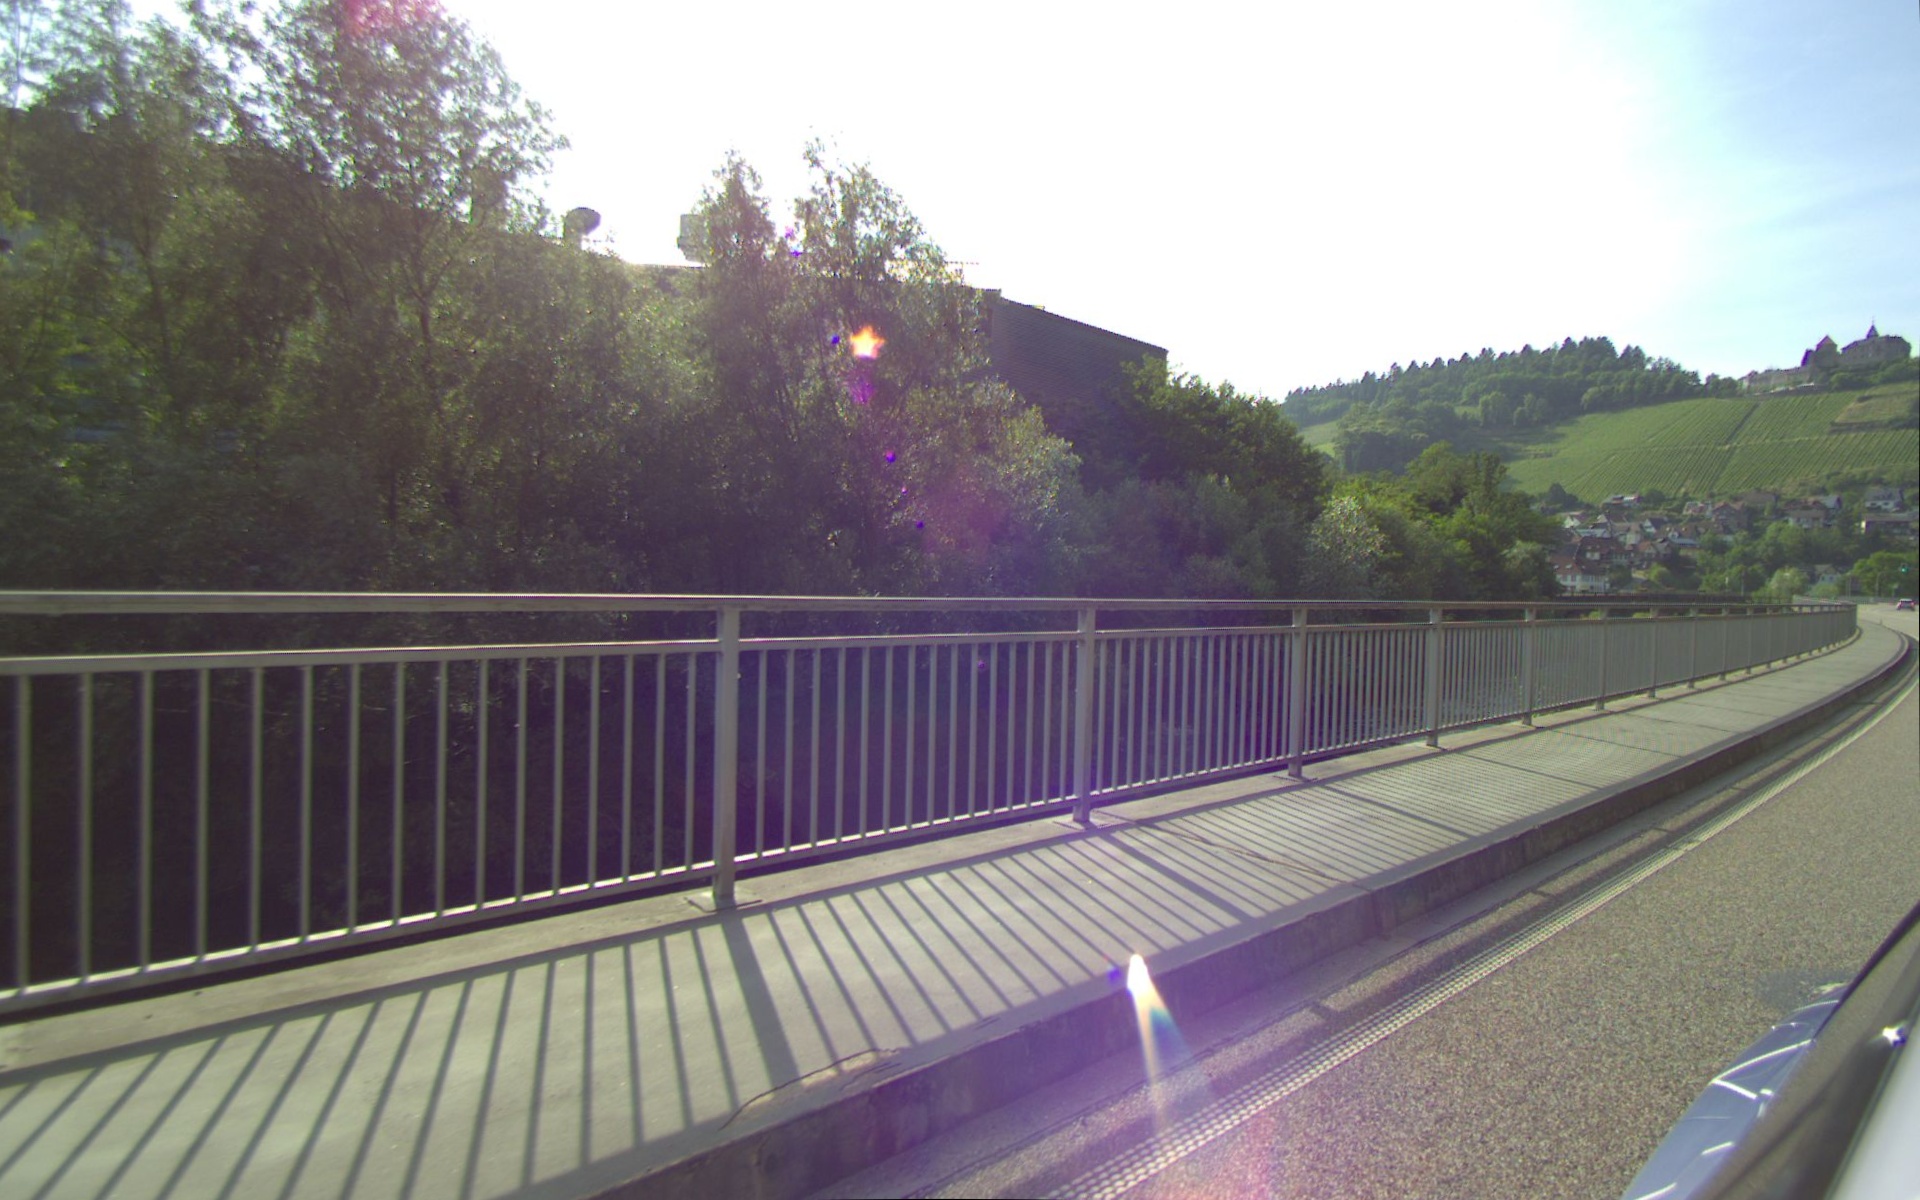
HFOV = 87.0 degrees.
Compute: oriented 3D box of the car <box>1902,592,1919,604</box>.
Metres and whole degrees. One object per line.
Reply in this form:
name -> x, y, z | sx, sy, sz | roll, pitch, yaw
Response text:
car -> 131.464, -0.268, 139.643 | 1.844, 1.563, 4.540 | 1, 0, 38
